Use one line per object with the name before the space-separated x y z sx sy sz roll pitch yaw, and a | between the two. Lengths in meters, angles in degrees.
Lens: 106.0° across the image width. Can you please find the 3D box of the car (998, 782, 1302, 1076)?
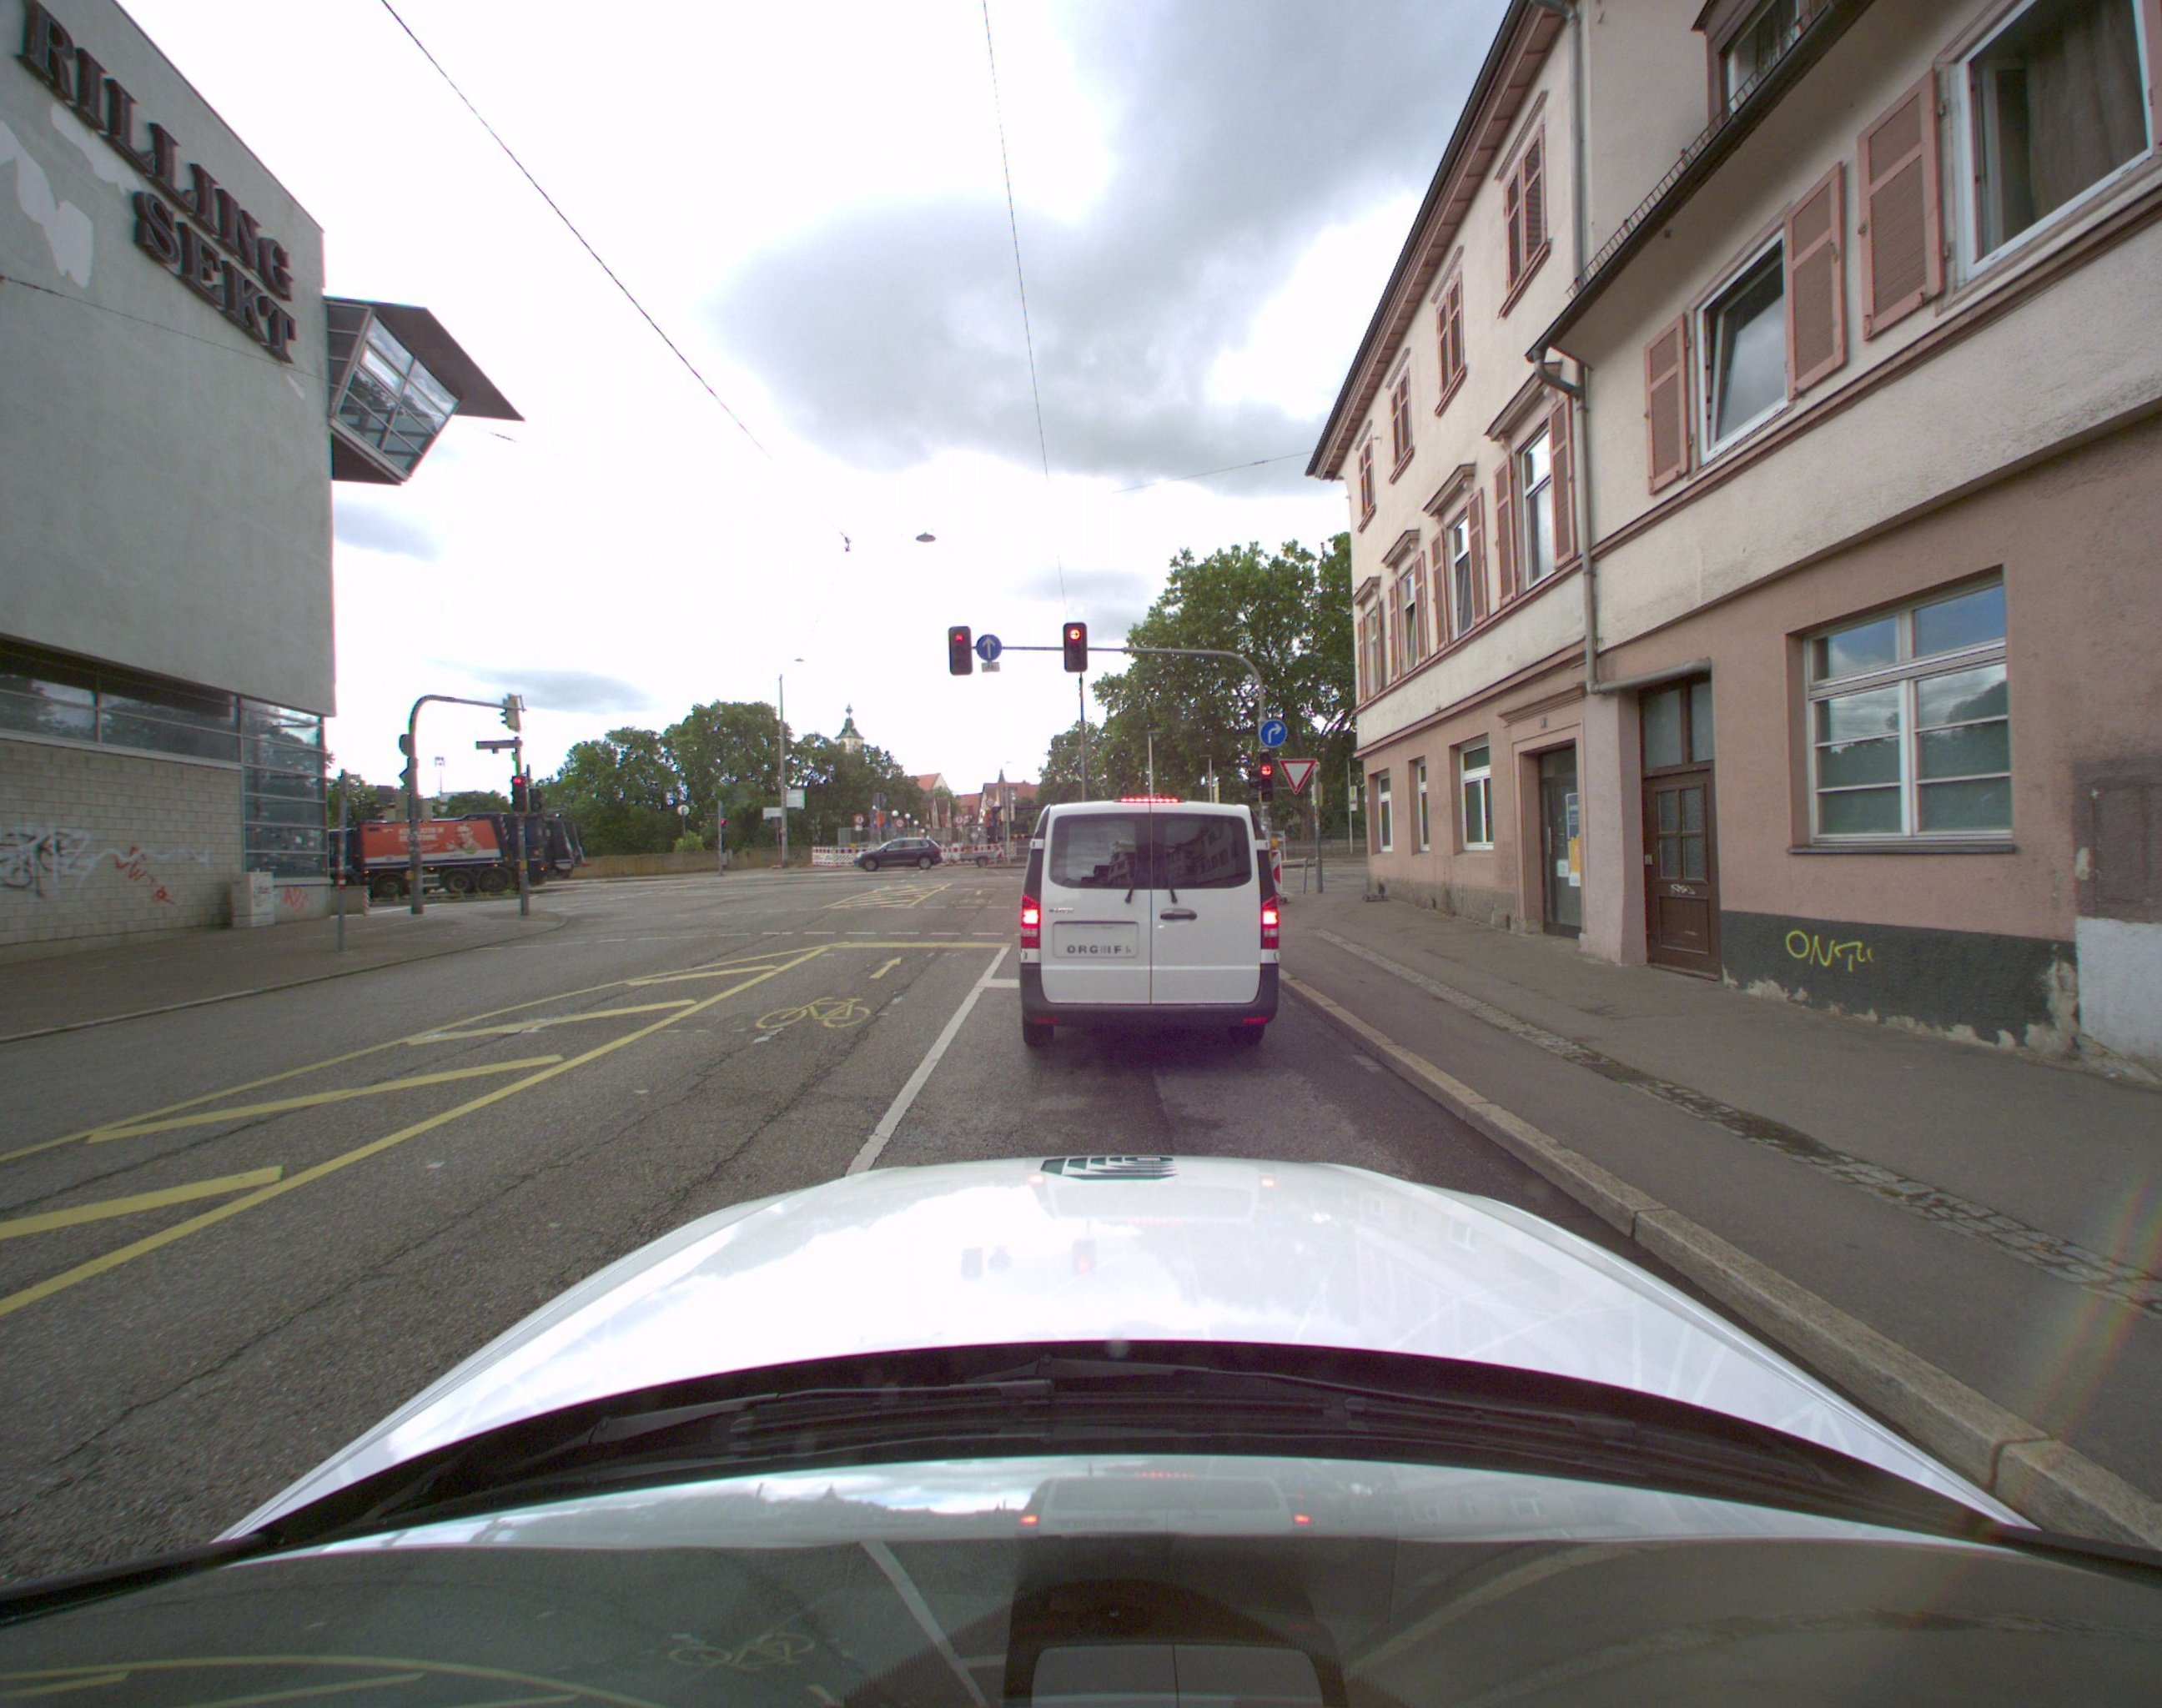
car | 0.487 0.431 7.501 1.987 1.922 4.250 -1 2 1

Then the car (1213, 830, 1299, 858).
car | 9.687 -0.547 45.163 4.275 1.452 1.894 -1 0 -10

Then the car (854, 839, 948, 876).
car | -9.204 0.176 41.789 4.522 1.634 1.992 -3 0 -12

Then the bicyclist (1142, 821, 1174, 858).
bicyclist | 4.672 -0.884 49.591 1.565 2.156 1.242 -2 0 -12

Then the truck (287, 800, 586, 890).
truck | -28.276 -0.460 36.320 10.210 3.696 2.258 -1 0 -17

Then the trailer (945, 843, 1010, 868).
trailer | -5.431 0.063 42.637 3.203 1.158 1.992 -2 0 -12
